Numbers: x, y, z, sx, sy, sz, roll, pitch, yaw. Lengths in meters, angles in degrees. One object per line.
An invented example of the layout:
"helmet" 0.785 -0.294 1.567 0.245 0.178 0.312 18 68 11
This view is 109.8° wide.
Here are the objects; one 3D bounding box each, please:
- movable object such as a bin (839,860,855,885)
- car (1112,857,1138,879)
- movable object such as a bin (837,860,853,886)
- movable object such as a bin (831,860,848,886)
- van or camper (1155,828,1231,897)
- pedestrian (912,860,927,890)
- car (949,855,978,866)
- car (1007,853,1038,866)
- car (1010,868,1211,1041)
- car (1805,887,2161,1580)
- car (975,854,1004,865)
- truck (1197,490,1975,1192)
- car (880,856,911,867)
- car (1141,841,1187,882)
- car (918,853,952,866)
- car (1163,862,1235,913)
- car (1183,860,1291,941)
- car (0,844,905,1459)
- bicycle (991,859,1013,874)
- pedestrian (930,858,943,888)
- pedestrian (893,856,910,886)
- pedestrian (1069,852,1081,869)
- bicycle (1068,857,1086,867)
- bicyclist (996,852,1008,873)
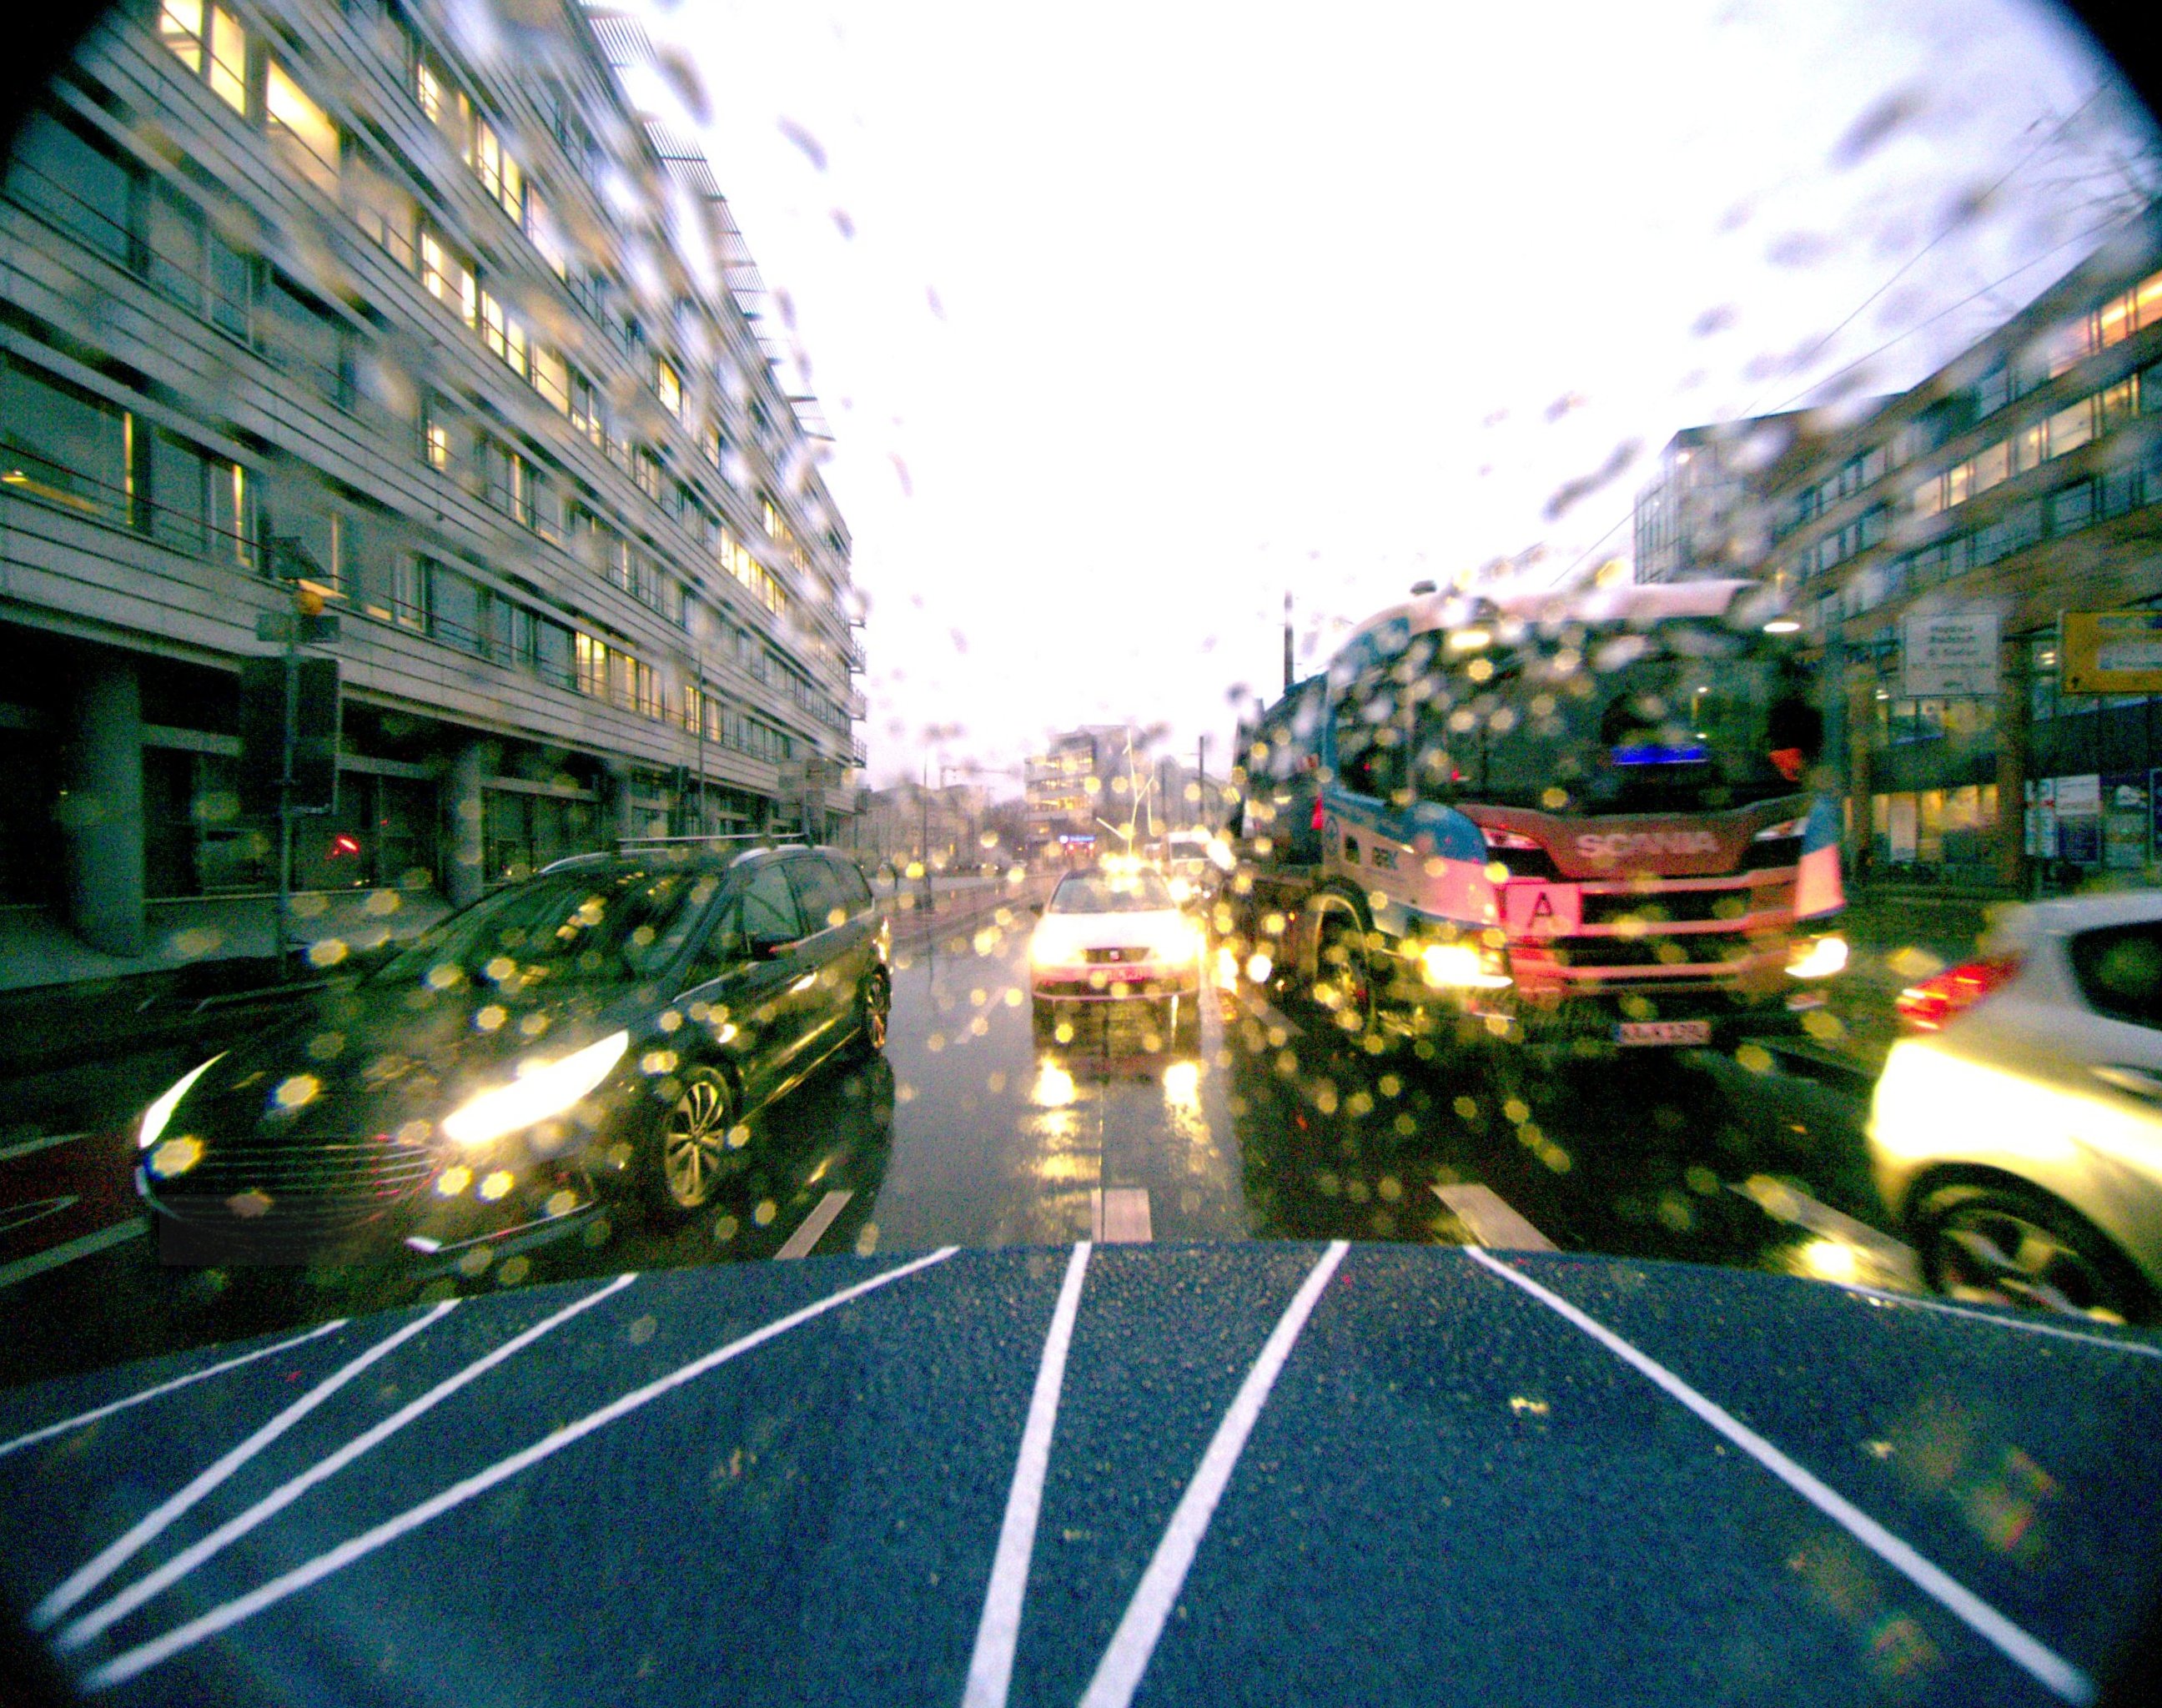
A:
"movable object such as a bin" -13.525 1.063 43.952 0.666 1.468 0.840 -1 1 -2
"car" 3.964 1.226 69.263 2.170 1.744 4.540 0 2 0
"movable object such as a bin" -13.360 1.057 43.022 0.666 1.420 0.840 -1 1 -2
"movable object such as a bin" -13.363 1.041 42.126 0.666 1.420 0.840 -1 1 -2
"van or camper" 4.428 0.321 31.020 2.153 2.517 5.898 -1 0 0
"pedestrian" -9.130 1.173 42.959 0.651 1.692 0.884 1 1 -3
"car" -17.122 0.992 110.962 3.759 1.528 1.783 -1 0 17
"car" -8.330 0.802 108.241 3.918 1.699 1.782 -1 0 14
"car" 0.290 0.936 8.768 1.782 1.464 3.943 -1 0 1
"car" 3.194 0.863 0.458 1.709 1.439 3.999 -2 1 1
"car" -13.216 0.834 109.427 3.759 1.528 1.783 -1 0 17
"truck" 3.211 -0.073 7.710 2.846 3.612 7.526 -1 0 0
"car" -28.044 1.120 114.796 3.997 1.663 2.002 -1 0 16
"car" 6.047 0.532 55.885 2.130 2.847 5.810 -1 0 -6
"car" -21.604 0.812 112.442 4.368 1.750 2.002 -1 0 16
"car" 3.499 0.945 23.155 1.759 1.337 4.057 -1 0 3
"car" 3.363 0.935 17.073 1.634 1.515 3.941 -1 1 0
"car" -2.663 0.900 4.596 1.887 1.800 4.671 -2 0 2
"bicycle" -6.698 1.079 64.615 1.764 1.191 0.680 -1 1 -36
"pedestrian" -8.214 1.087 43.152 0.616 1.659 0.884 1 1 -3
"pedestrian" -10.311 0.957 43.629 0.747 1.692 0.969 2 0 -3
"pedestrian" -0.693 0.770 88.773 1.118 2.002 1.034 0 1 15
"bicycle" -0.459 1.016 93.473 2.203 1.182 0.668 0 1 3
"bicyclist" -6.721 0.707 64.588 0.808 1.787 0.670 -1 1 -36
